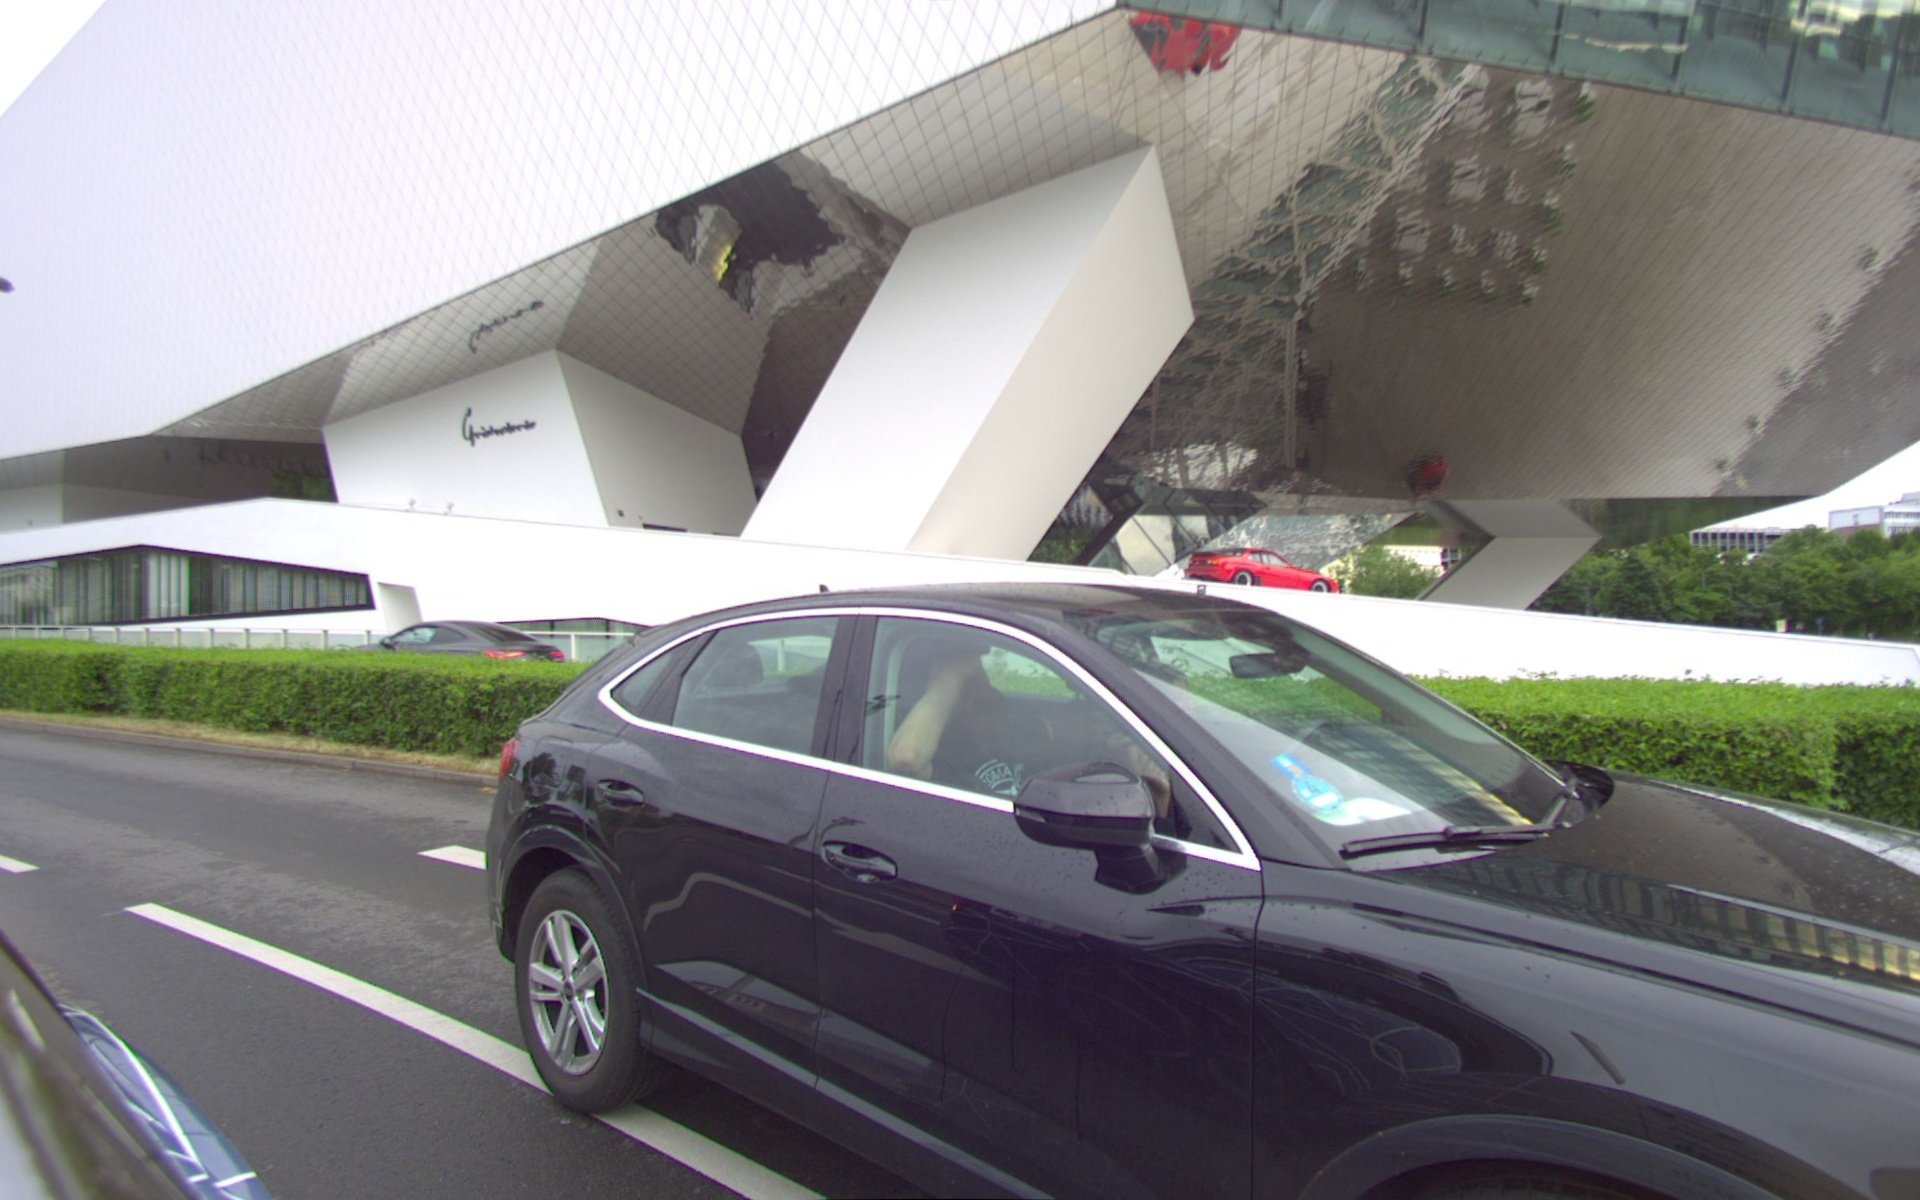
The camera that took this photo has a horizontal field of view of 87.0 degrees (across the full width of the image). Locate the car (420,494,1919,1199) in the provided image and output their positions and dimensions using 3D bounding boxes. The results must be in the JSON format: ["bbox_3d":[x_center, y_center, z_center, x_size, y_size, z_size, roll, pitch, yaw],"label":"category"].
[{"bbox_3d":[0.380,0.674,2.675,4.392,1.529,1.734,-1,0,41],"label":"car"}]

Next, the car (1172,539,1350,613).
[{"bbox_3d":[8.218,-0.610,27.737,4.175,1.395,2.006,7,-4,-16],"label":"car"}]

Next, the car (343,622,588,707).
[{"bbox_3d":[-8.672,1.073,17.752,3.975,1.347,1.711,-1,-1,24],"label":"car"}]
